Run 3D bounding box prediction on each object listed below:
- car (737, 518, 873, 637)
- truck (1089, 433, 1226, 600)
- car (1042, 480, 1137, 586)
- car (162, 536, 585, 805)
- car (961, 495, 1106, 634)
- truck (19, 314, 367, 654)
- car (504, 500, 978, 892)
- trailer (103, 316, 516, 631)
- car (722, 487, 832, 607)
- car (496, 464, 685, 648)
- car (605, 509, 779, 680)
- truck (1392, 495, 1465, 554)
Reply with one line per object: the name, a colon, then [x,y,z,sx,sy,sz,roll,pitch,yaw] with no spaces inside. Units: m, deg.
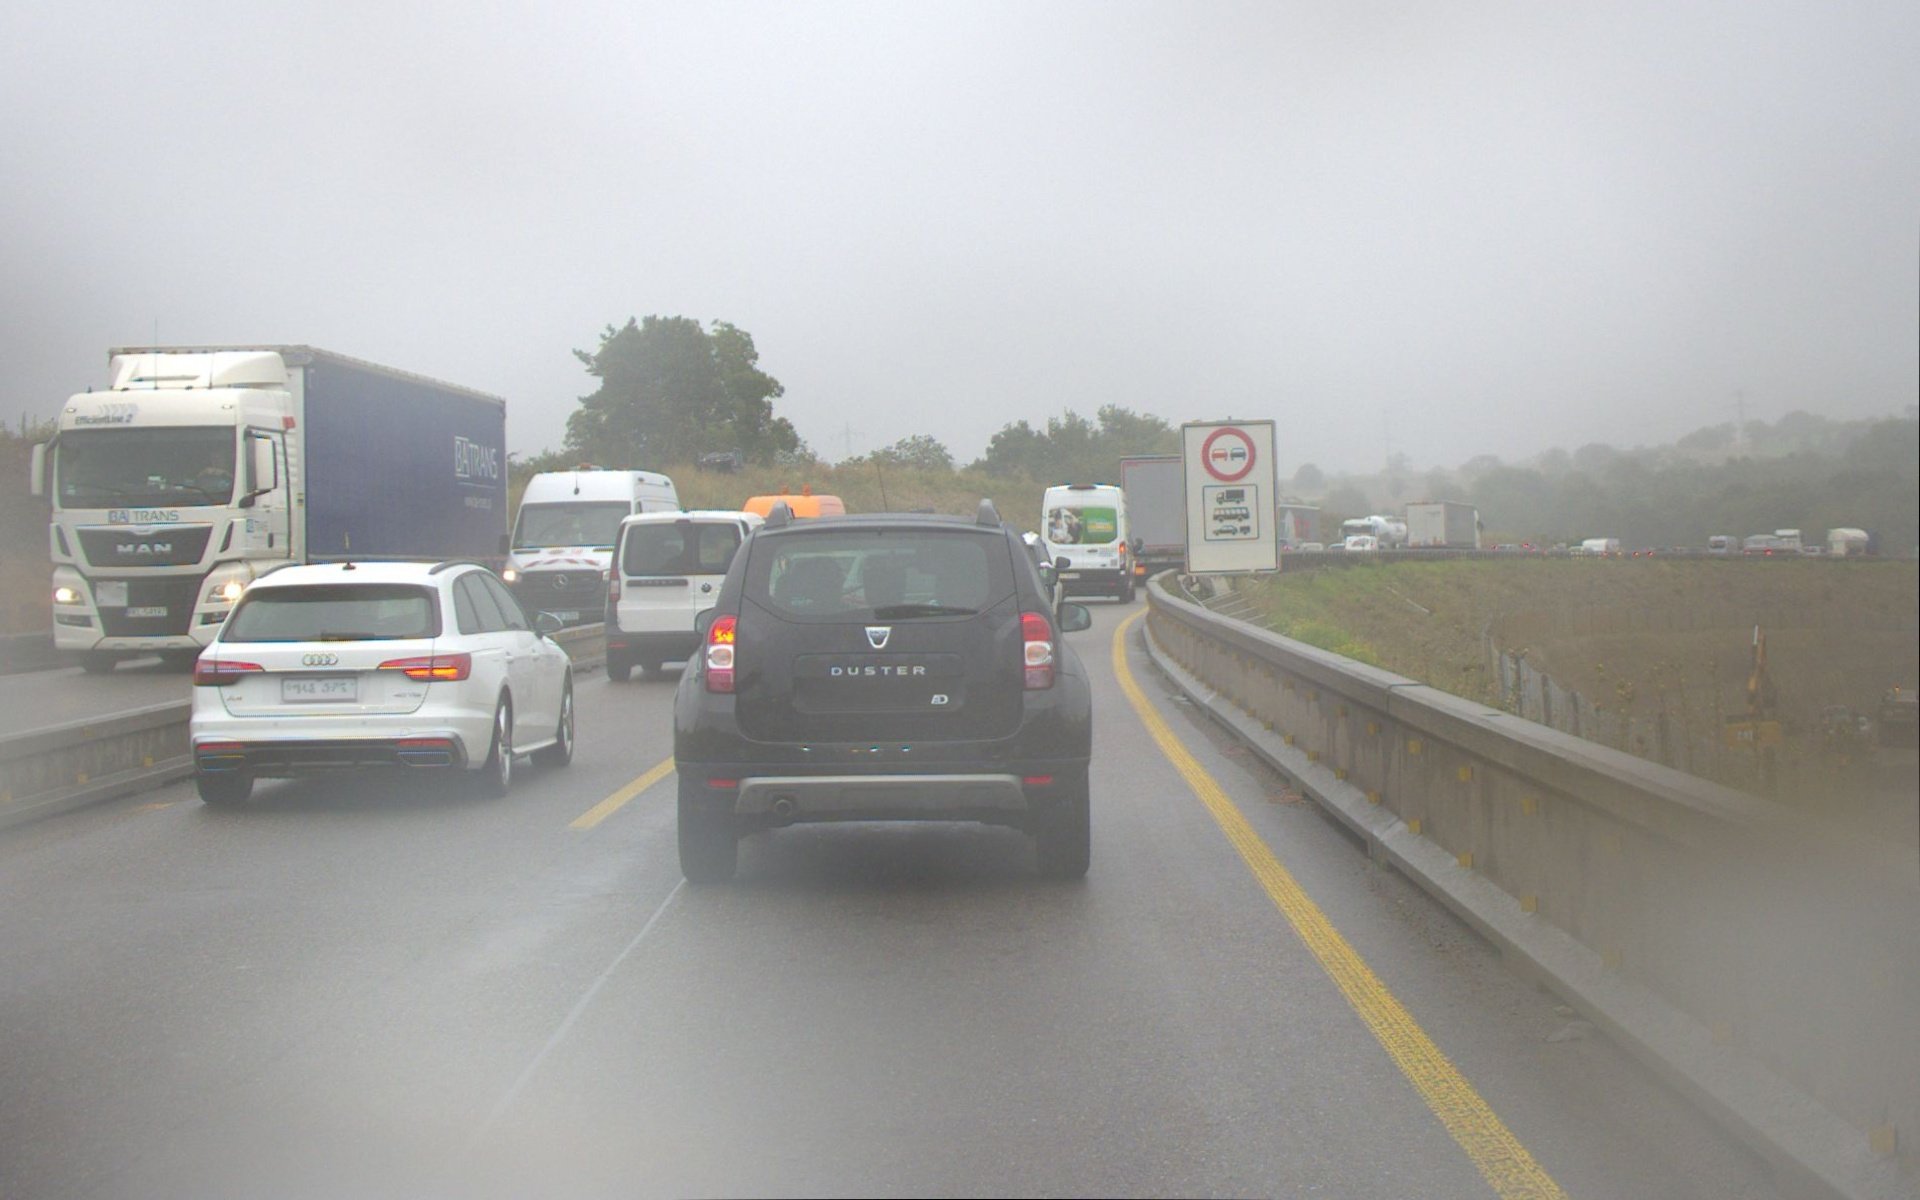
car: [-2.415,-0.360,54.475,1.826,1.809,4.000,0,0,2]
truck: [6.414,-2.574,110.001,3.545,5.060,10.438,0,0,8]
car: [3.070,-1.546,80.777,1.827,2.429,4.157,0,0,8]
car: [-3.502,0.380,21.252,1.826,1.494,4.000,0,0,2]
car: [1.047,-0.480,46.964,1.826,1.809,4.000,0,0,3]
truck: [-9.604,-1.462,43.709,2.788,4.021,5.819,0,2,3]
car: [-0.885,0.377,16.000,1.826,1.585,4.000,0,0,2]
trailer: [-9.235,-1.839,50.940,2.780,4.021,13.741,0,2,3]
car: [-4.063,-1.230,77.465,2.054,2.568,7.021,0,1,0]
car: [-5.608,-0.739,53.050,2.006,2.644,6.885,0,2,1]
car: [-2.946,-0.072,38.426,1.826,1.809,4.000,0,0,-3]
truck: [30.837,-5.016,226.021,3.474,3.702,8.411,-1,1,16]
